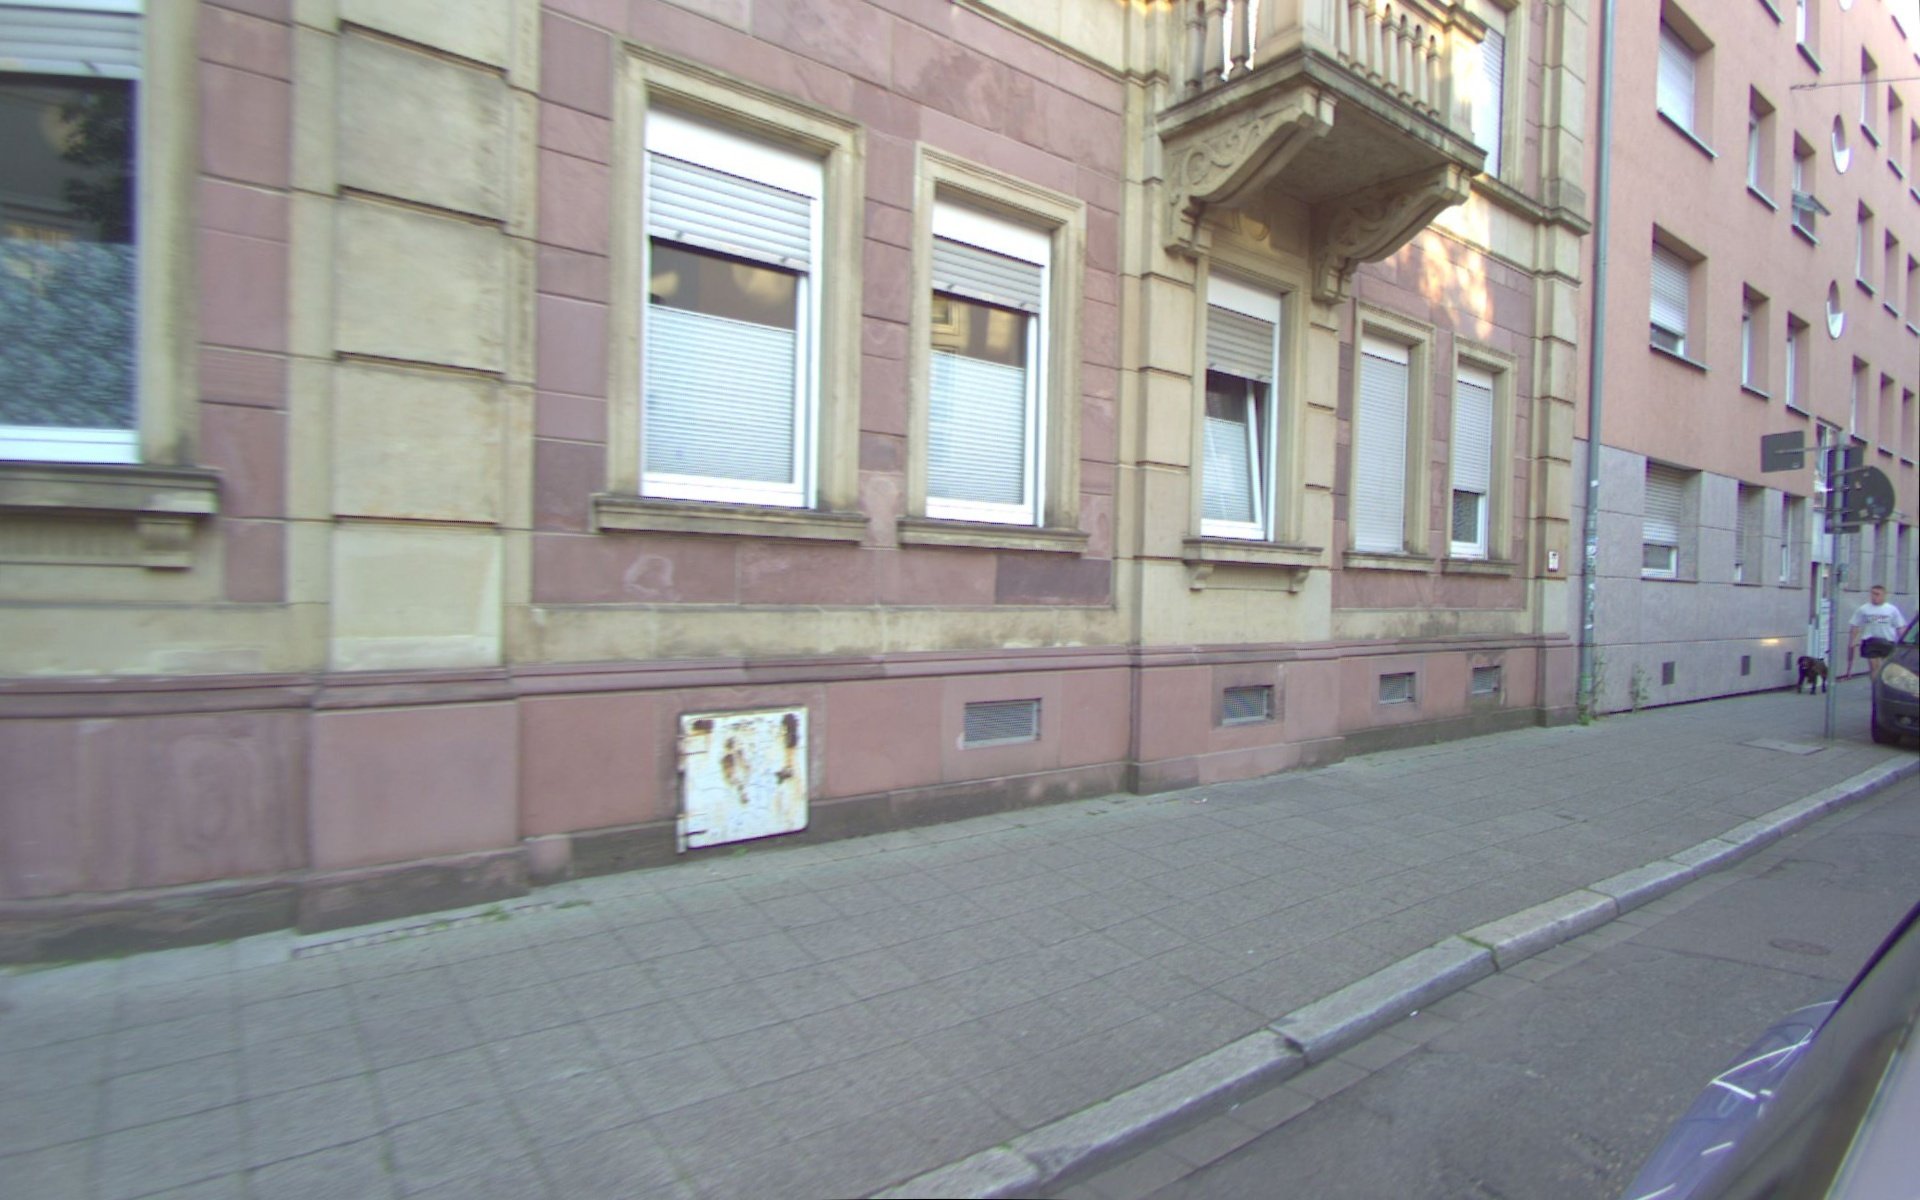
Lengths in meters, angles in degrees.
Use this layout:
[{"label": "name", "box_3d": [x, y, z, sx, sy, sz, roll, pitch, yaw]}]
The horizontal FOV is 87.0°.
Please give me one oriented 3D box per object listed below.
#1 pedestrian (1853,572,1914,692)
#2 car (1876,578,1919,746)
[{"label": "pedestrian", "box_3d": [13.954, 0.471, 15.297, 0.558, 1.765, 0.551, 1, 1, -38]}, {"label": "car", "box_3d": [11.341, 0.638, 10.714, 3.979, 1.645, 1.694, 1, 1, -37]}]
